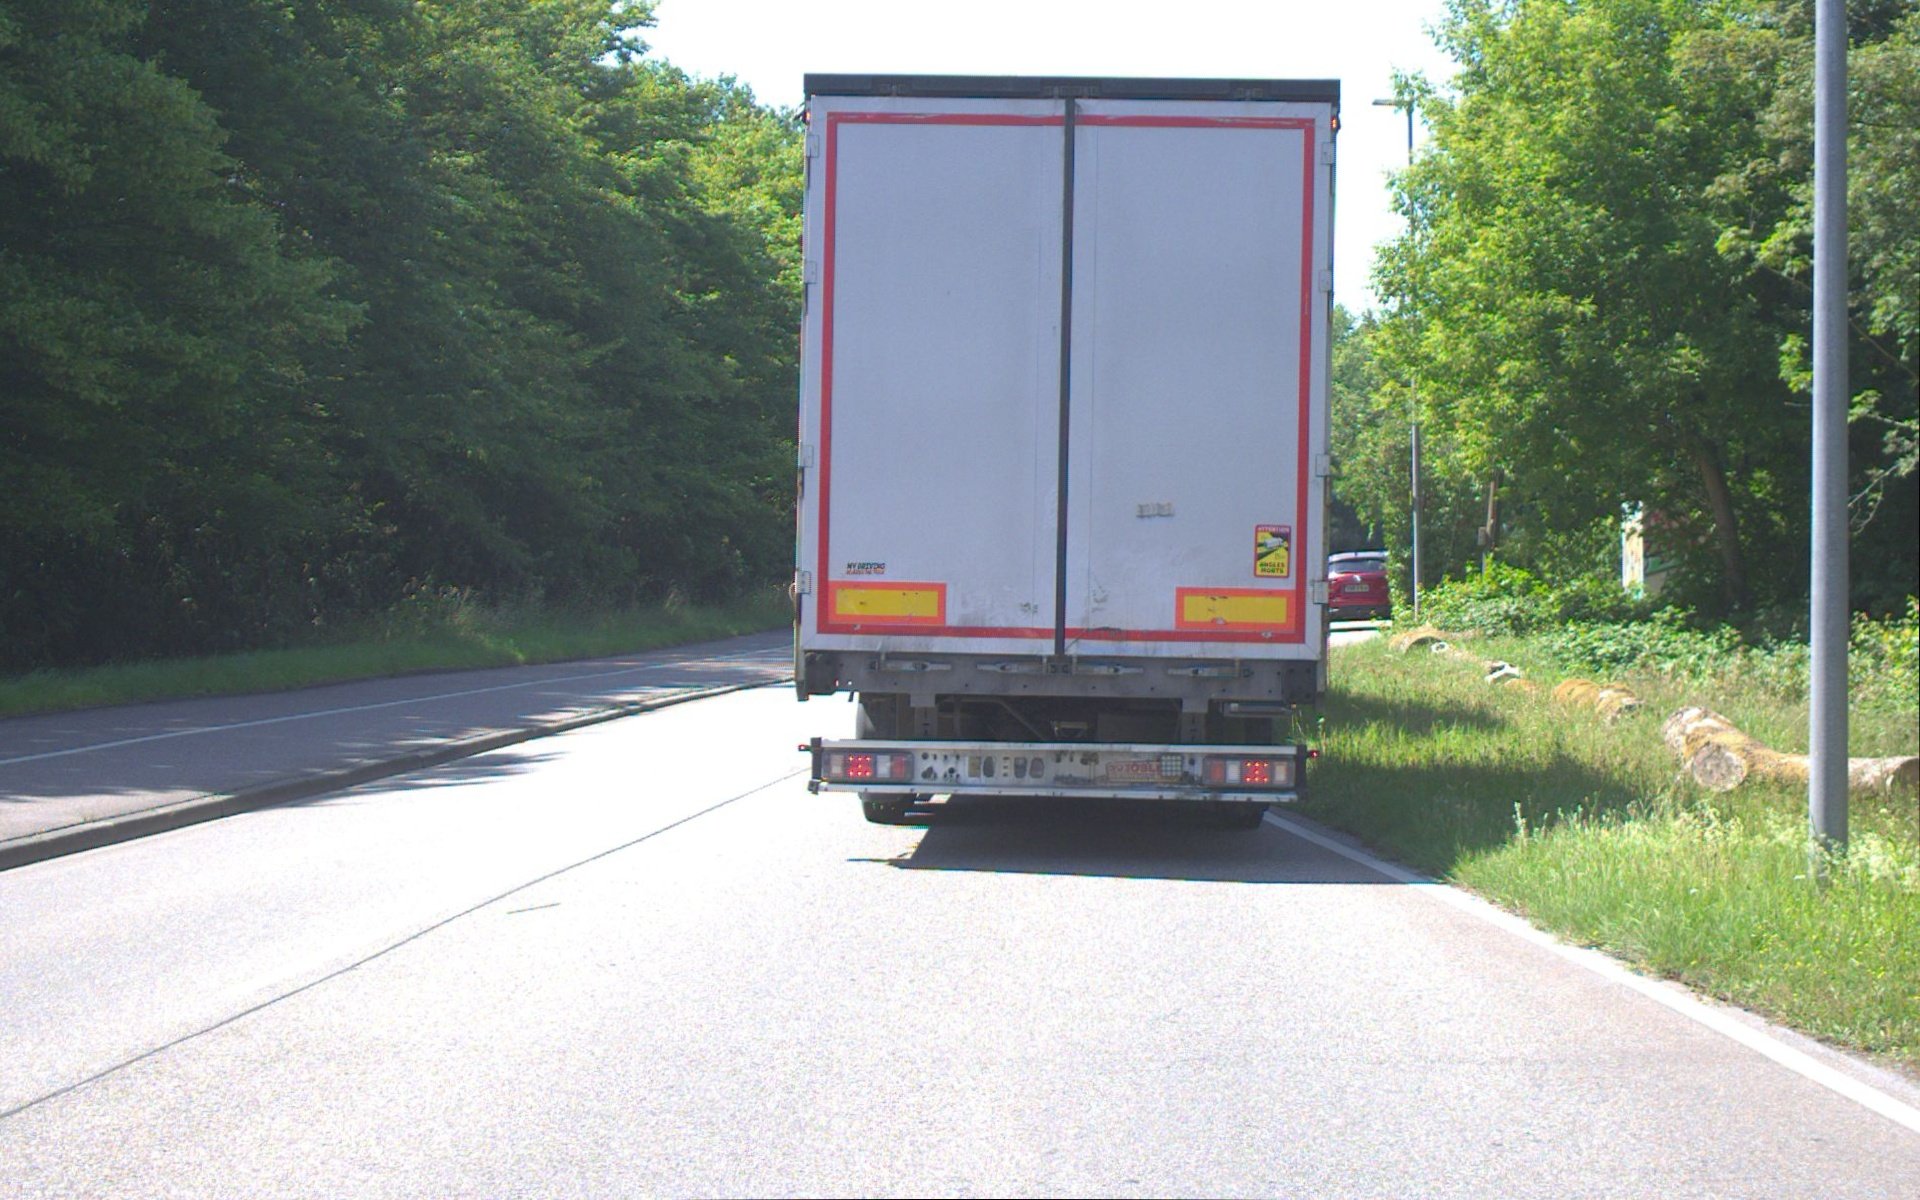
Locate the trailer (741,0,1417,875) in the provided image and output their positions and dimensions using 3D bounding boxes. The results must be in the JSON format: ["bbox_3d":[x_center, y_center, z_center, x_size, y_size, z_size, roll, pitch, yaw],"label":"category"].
[{"bbox_3d":[0.544,-0.855,20.928,3.077,4.056,9.809,1,1,0],"label":"trailer"}]

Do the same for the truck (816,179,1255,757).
[{"bbox_3d":[0.490,-1.012,28.206,3.077,4.056,7.959,0,1,-1],"label":"truck"}]

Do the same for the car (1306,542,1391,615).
[{"bbox_3d":[8.359,-0.483,74.201,1.711,1.525,3.850,0,1,5],"label":"car"}]

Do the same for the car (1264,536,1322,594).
[{"bbox_3d":[11.868,-1.270,122.680,1.994,2.007,3.999,-1,1,5],"label":"car"}]
